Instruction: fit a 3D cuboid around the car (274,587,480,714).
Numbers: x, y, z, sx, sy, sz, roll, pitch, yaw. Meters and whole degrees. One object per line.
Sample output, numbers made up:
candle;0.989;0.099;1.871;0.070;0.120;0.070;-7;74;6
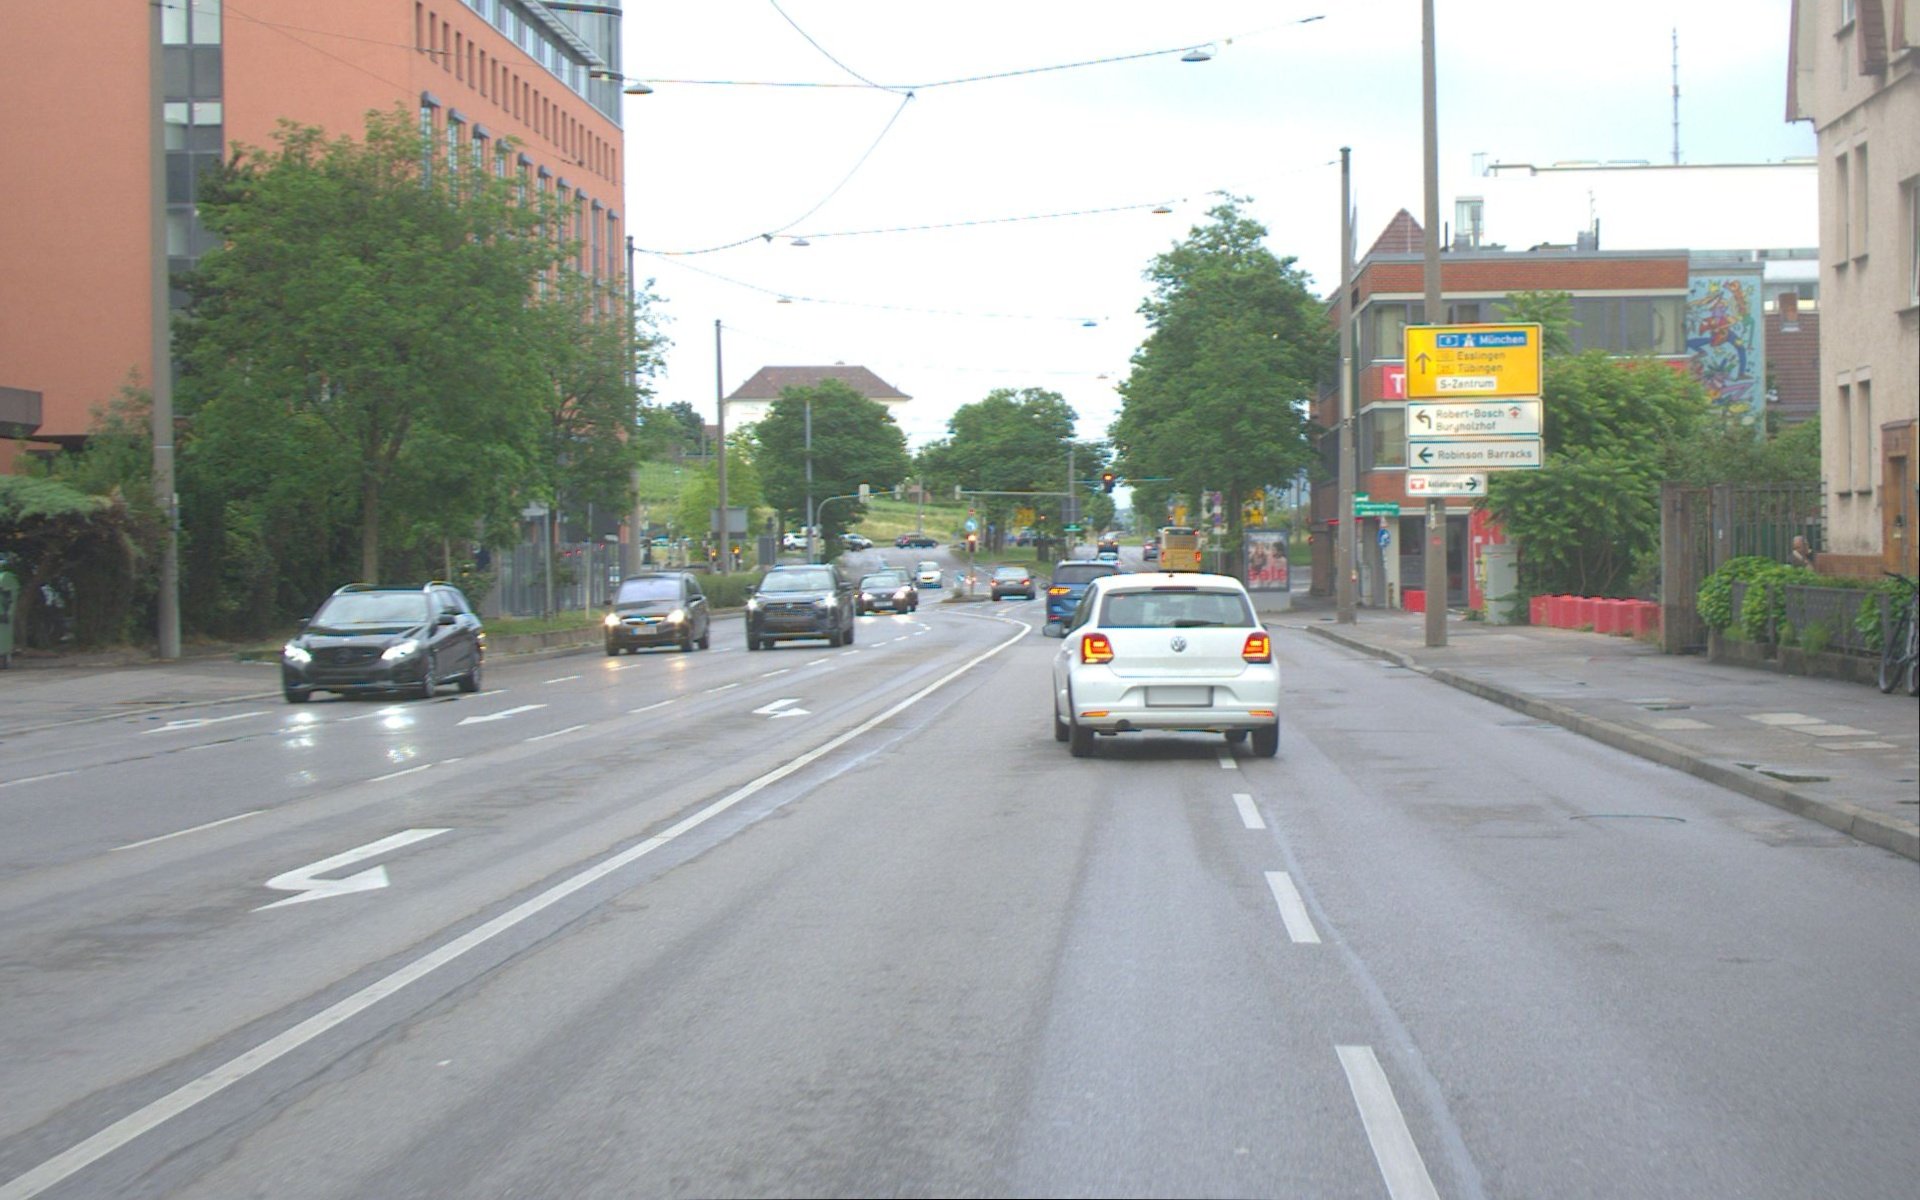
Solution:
car;-7.498;0.617;44.608;1.733;1.472;4.699;-2;1;1

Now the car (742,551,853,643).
car;-3.214;-0.089;68.554;1.756;1.550;4.450;-3;2;2

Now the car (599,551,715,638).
car;-6.077;-0.139;69.334;1.708;1.560;4.034;-3;2;3

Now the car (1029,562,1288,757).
car;1.564;0.435;28.259;1.670;1.469;3.780;0;1;-4

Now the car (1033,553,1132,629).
car;2.687;-0.220;74.654;1.994;1.568;4.000;-1;1;4

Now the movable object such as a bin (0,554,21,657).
movable object such as a bin;-14.591;0.112;50.399;1.390;1.486;0.951;-3;-1;-6

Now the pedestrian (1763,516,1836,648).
pedestrian;11.358;-0.248;46.489;0.912;1.758;0.767;1;1;15

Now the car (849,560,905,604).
car;-2.898;-0.637;120.380;1.659;1.481;3.820;-1;1;3
